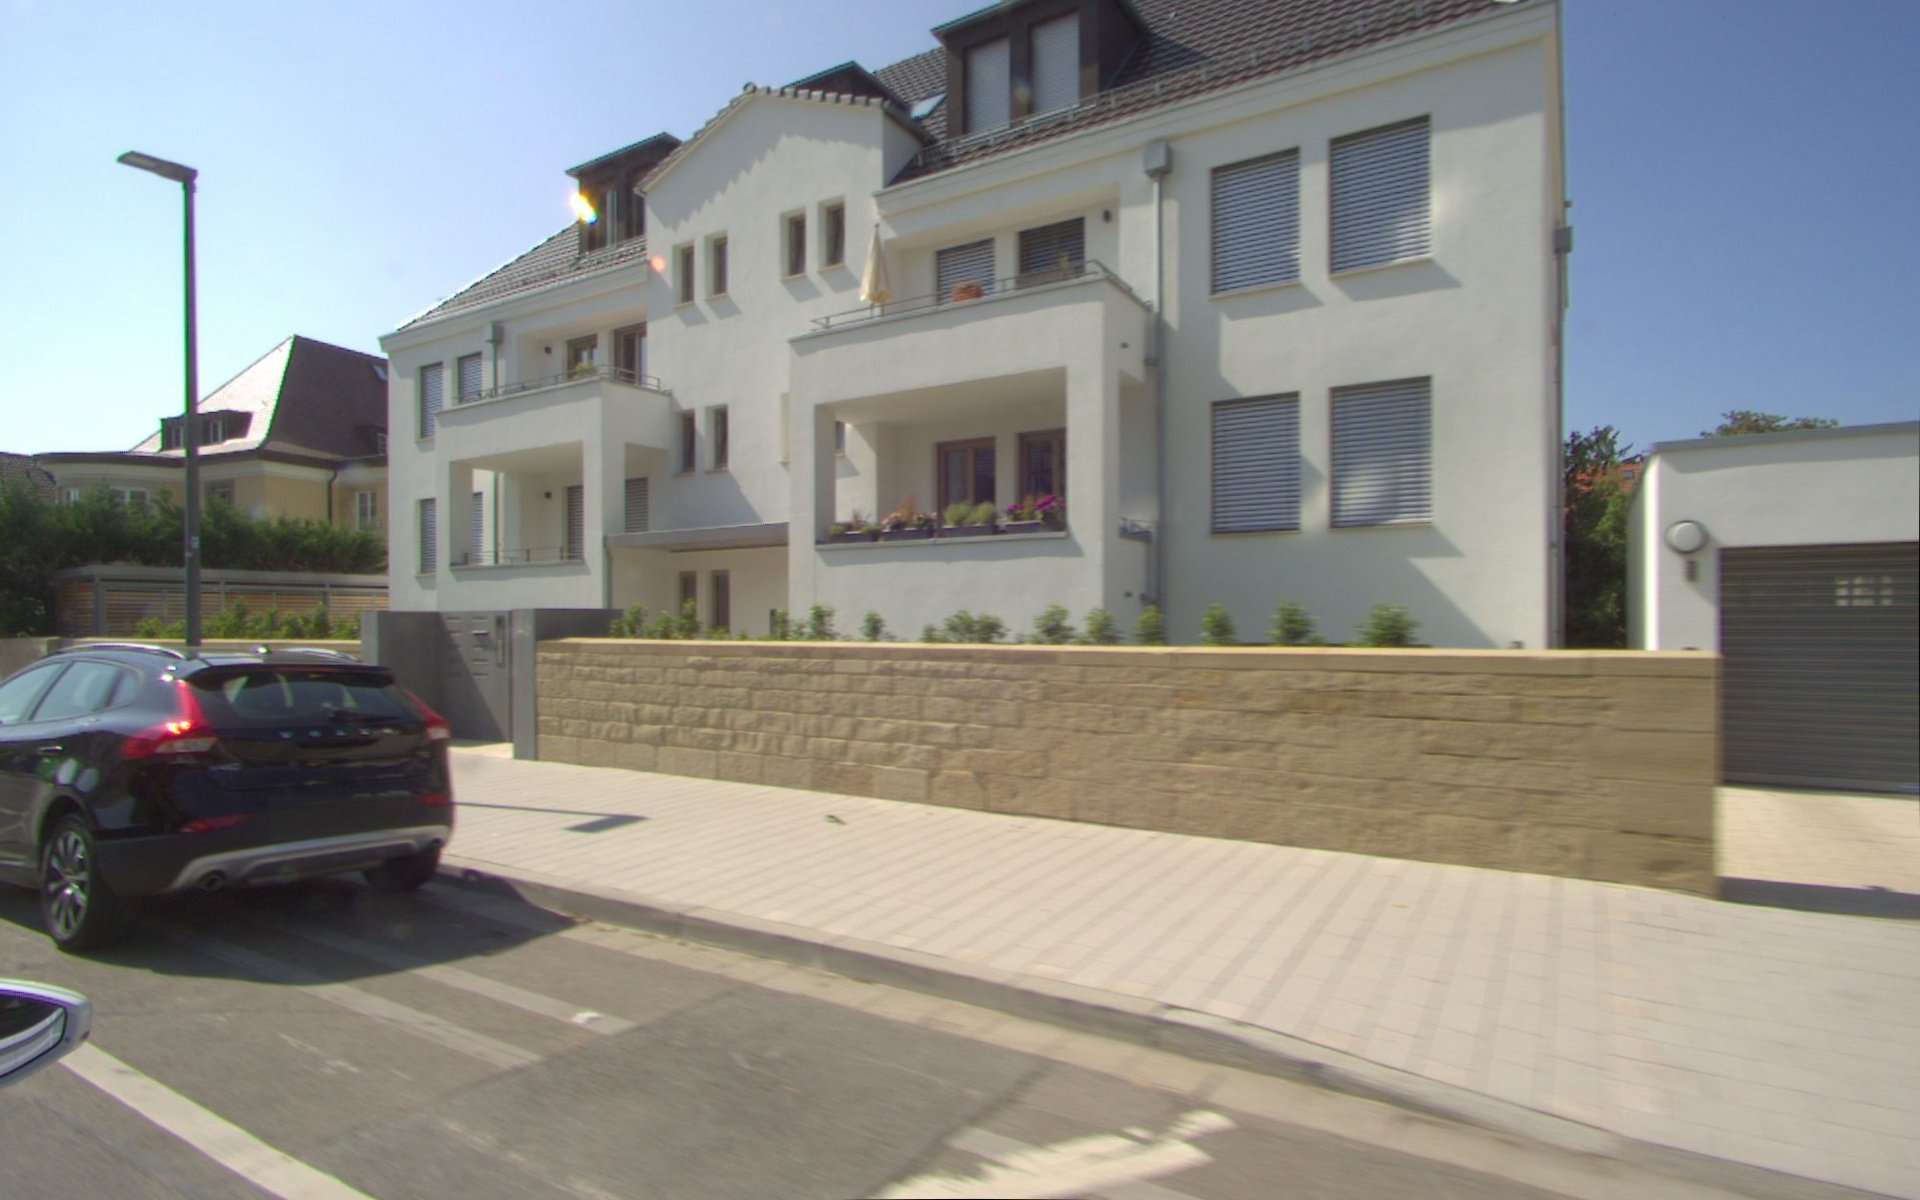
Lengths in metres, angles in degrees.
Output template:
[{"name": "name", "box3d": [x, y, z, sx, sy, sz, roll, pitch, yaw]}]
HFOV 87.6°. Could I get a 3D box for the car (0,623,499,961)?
[{"name": "car", "box3d": [-4.923, 0.943, 6.179, 4.108, 1.466, 1.721, -1, -5, 31]}]
